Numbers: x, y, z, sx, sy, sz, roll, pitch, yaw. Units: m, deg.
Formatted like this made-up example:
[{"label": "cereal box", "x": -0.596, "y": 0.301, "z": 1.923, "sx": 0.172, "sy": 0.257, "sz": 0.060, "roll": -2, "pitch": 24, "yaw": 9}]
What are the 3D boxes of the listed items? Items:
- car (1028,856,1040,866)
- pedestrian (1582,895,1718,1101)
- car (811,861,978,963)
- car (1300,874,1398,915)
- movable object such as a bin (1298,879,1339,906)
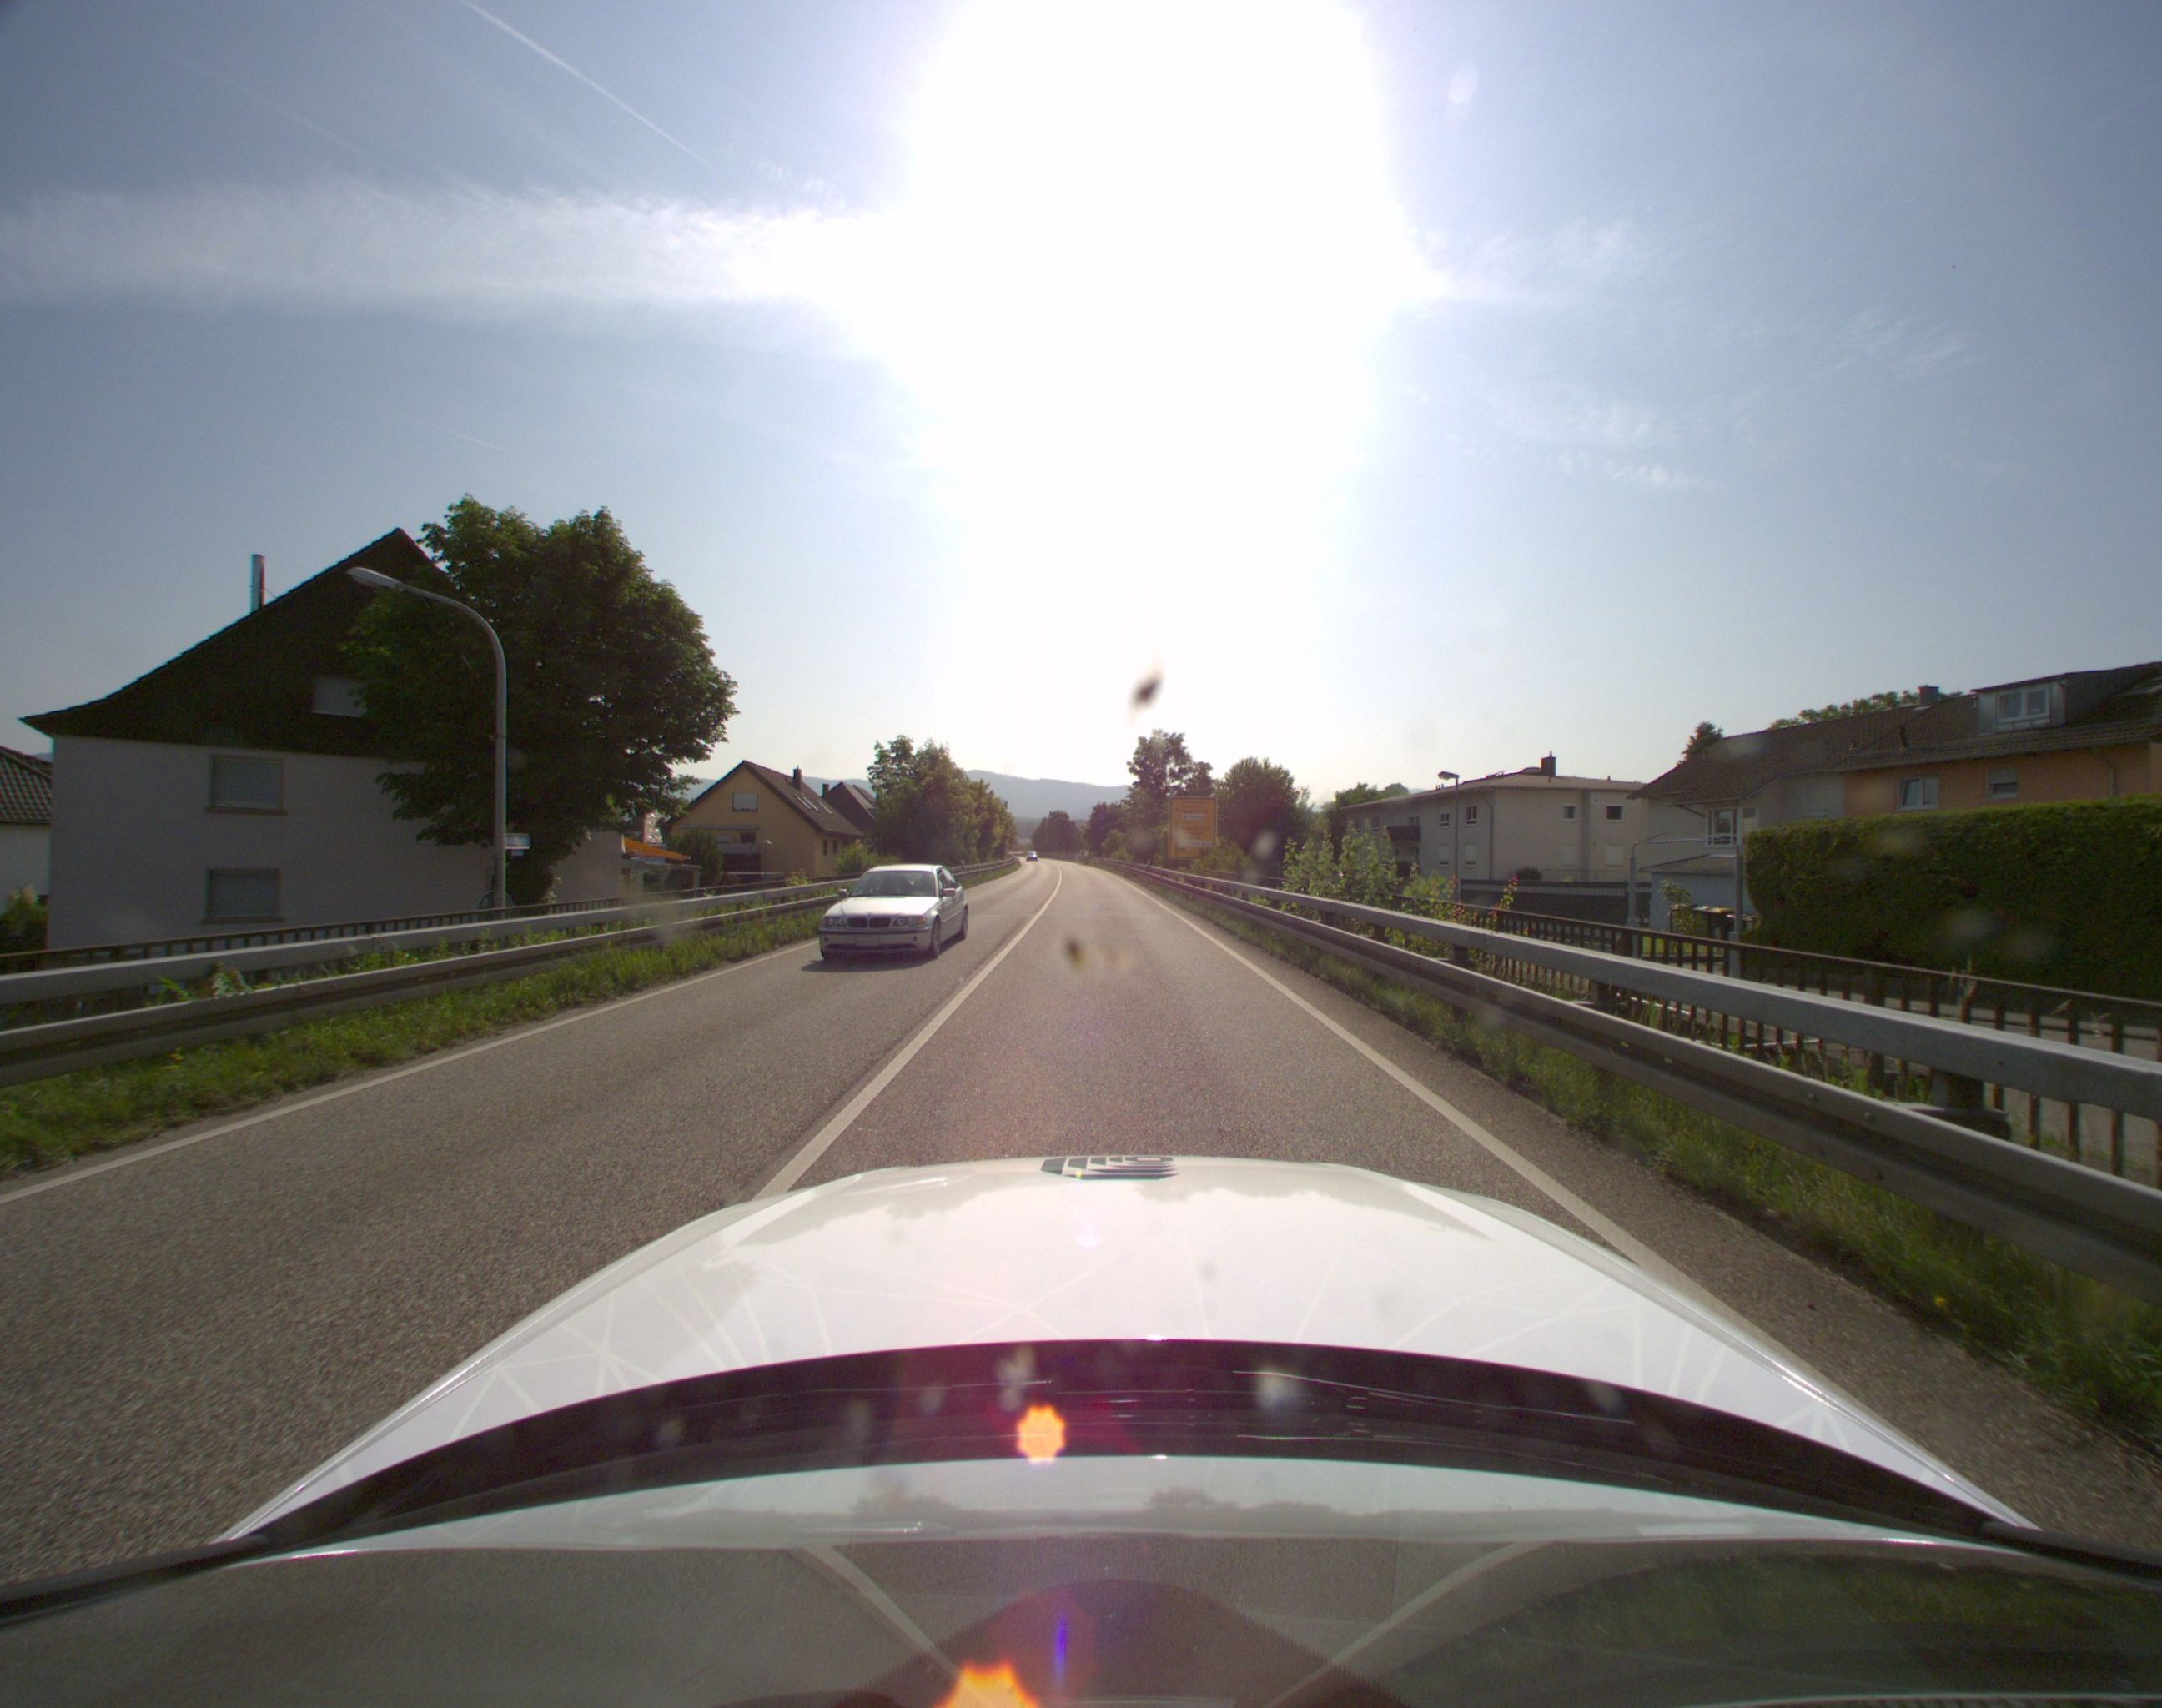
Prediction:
[{"label": "car", "x": -7.613, "y": 1.196, "z": 132.838, "sx": 1.803, "sy": 1.561, "sz": 3.988, "roll": -2, "pitch": 0, "yaw": -3}, {"label": "pedestrian", "x": 6.018, "y": 1.464, "z": 8.672, "sx": 0.784, "sy": 2.014, "sz": 0.998, "roll": 0, "pitch": 0, "yaw": 5}, {"label": "car", "x": -2.940, "y": 0.850, "z": 13.733, "sx": 1.751, "sy": 1.411, "sz": 3.991, "roll": -2, "pitch": 0, "yaw": 2}, {"label": "car", "x": 18.557, "y": 2.847, "z": 56.552, "sx": 6.054, "sy": 2.688, "sz": 2.311, "roll": 1, "pitch": -4, "yaw": -1}, {"label": "movable object such as a bin", "x": 18.719, "y": 3.026, "z": 64.259, "sx": 2.775, "sy": 2.013, "sz": 1.587, "roll": 2, "pitch": 0, "yaw": -1}]
